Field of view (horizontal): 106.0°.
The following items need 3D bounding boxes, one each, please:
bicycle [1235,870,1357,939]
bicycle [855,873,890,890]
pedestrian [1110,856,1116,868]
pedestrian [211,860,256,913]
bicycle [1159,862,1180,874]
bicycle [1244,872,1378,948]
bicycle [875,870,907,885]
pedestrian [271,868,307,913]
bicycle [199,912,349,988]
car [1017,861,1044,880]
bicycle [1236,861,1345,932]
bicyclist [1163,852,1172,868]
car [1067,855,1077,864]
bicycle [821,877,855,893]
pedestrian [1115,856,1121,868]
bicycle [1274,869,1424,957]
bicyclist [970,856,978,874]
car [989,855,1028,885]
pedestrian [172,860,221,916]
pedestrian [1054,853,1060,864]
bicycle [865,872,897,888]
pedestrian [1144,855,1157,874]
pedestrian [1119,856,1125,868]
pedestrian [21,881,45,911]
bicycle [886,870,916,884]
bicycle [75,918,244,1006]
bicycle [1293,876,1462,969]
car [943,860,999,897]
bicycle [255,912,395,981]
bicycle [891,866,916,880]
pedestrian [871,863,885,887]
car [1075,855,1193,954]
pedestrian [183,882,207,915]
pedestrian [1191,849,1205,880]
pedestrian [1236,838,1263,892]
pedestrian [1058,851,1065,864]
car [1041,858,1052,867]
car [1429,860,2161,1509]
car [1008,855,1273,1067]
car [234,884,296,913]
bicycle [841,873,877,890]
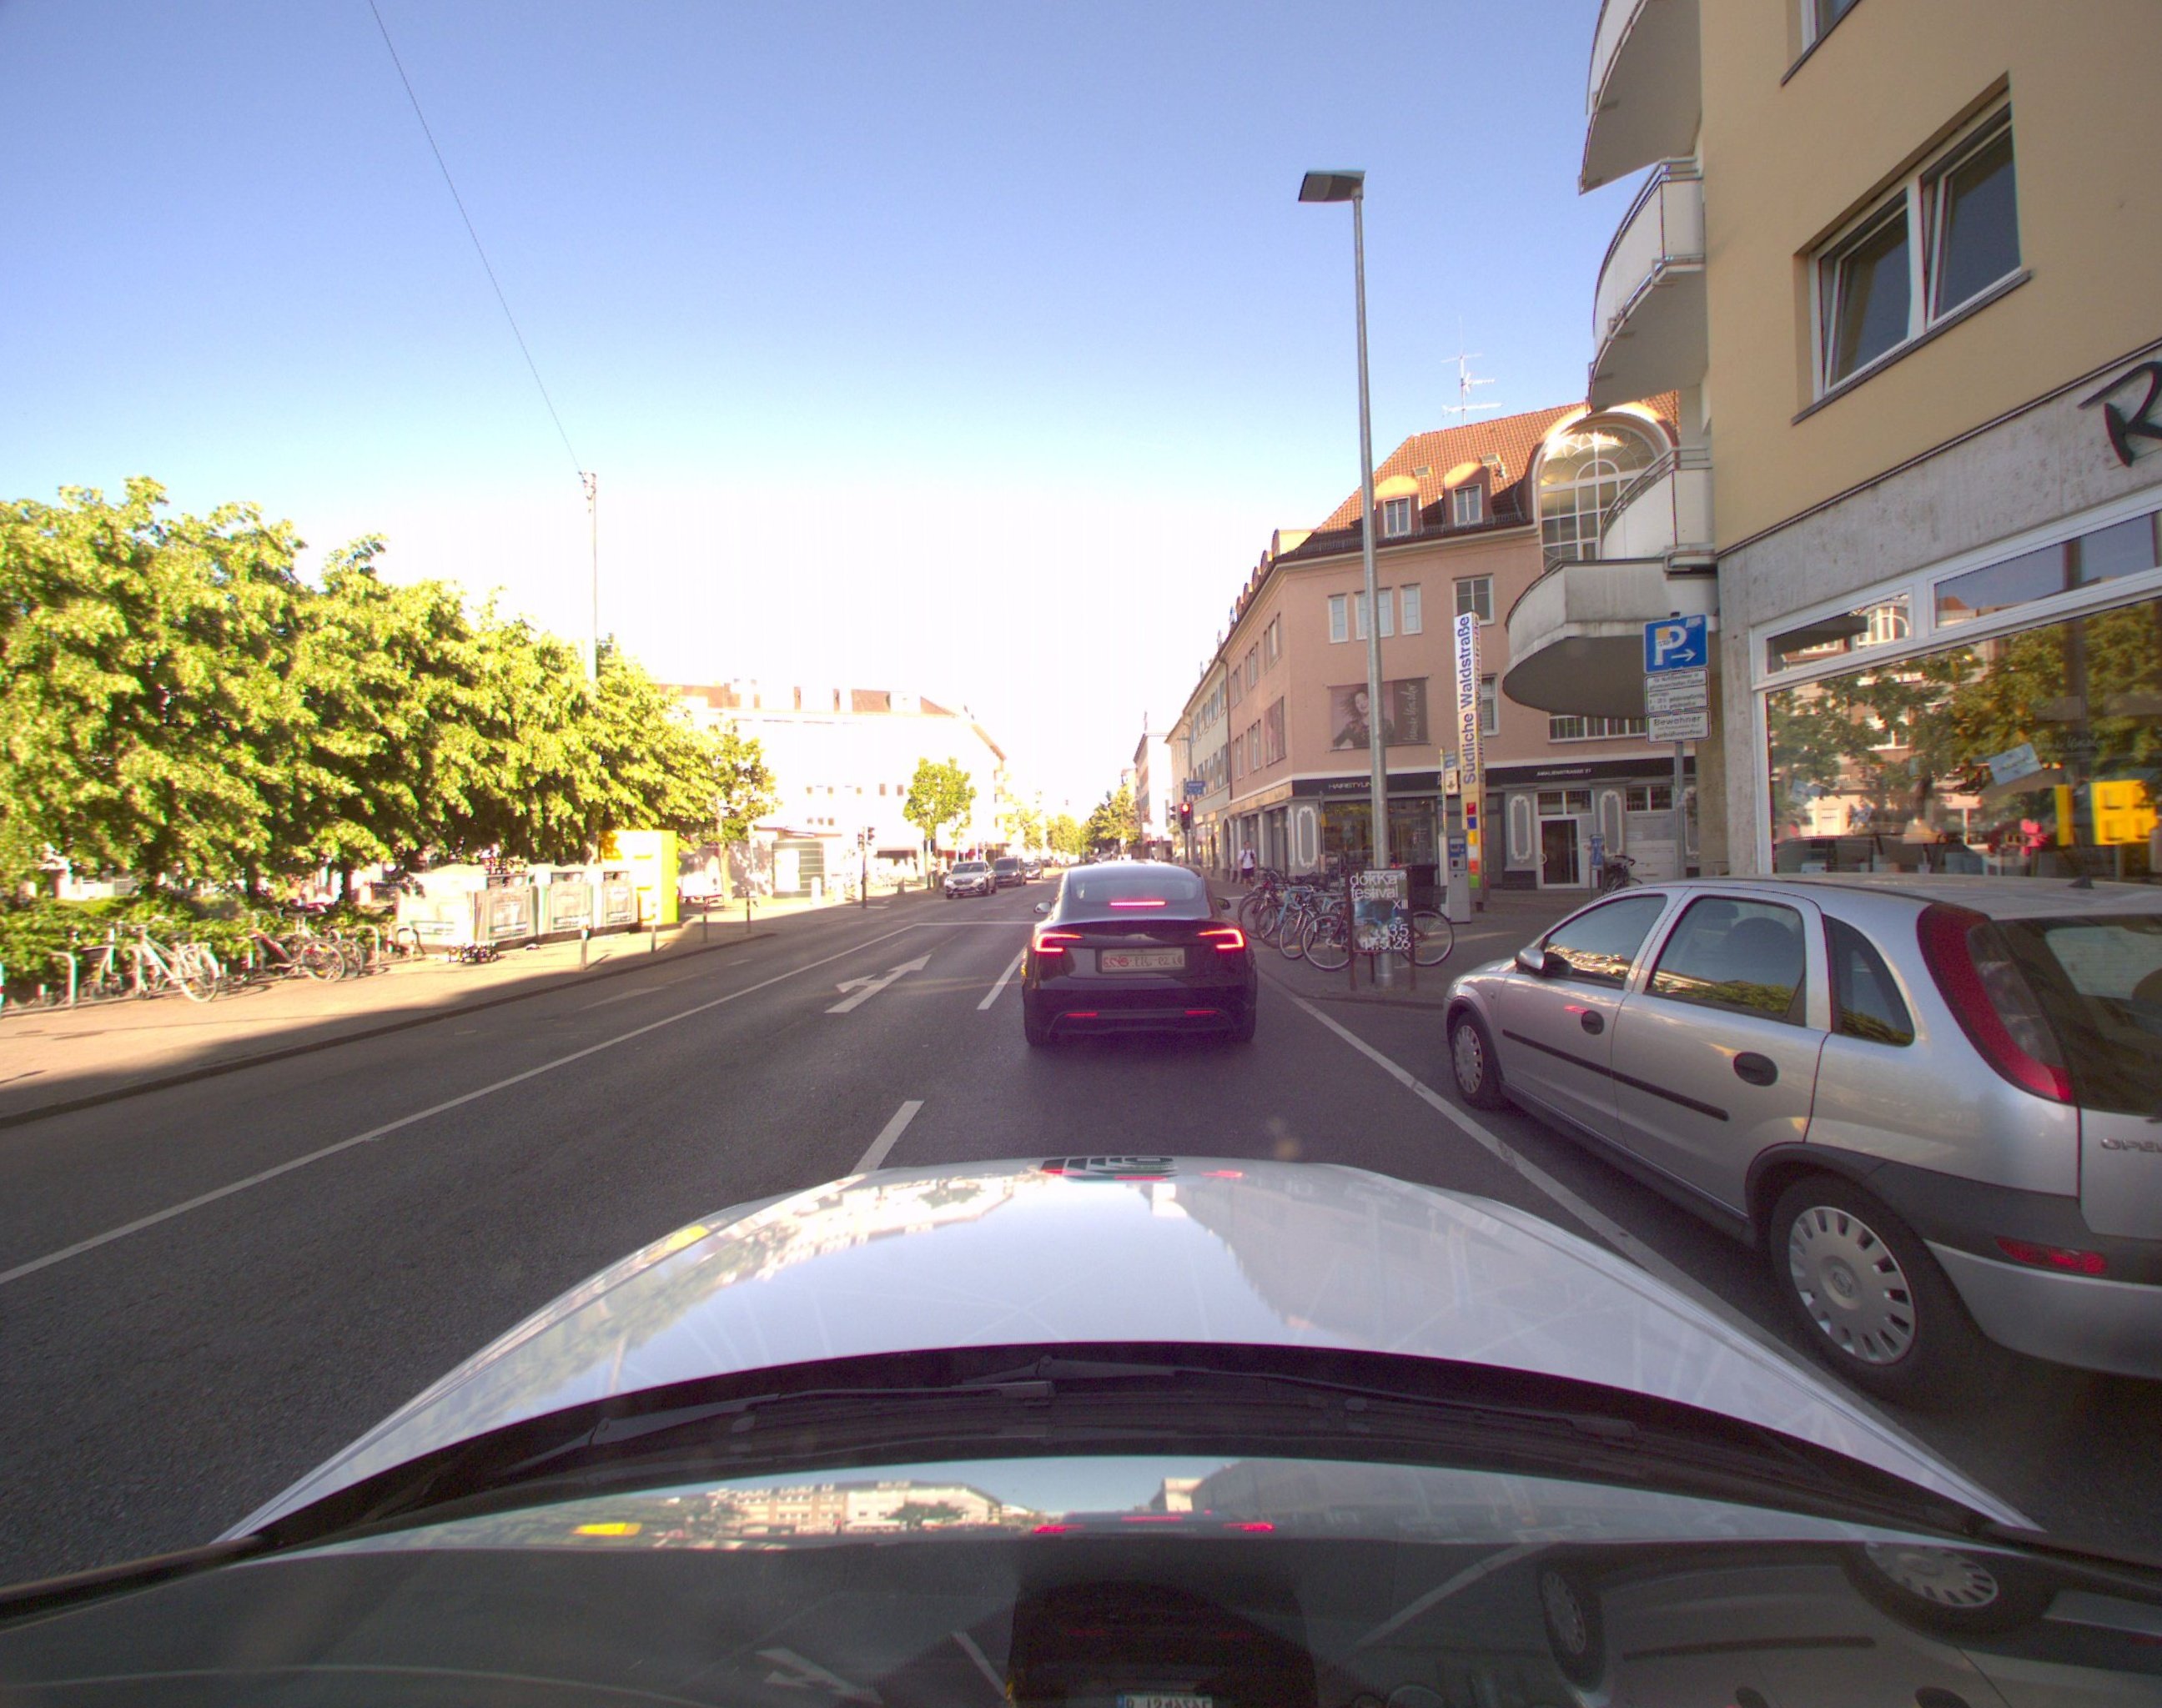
[{"bbox_3d":[3.582,0.839,13.669,1.863,1.038,0.548,-3,-1,7],"label":"bicycle"},{"bbox_3d":[-12.226,1.615,47.823,1.857,0.934,0.606,0,-1,0],"label":"bicycle"},{"bbox_3d":[3.777,0.891,95.326,0.474,1.417,0.517,0,-1,-29],"label":"pedestrian"},{"bbox_3d":[-33.426,1.272,32.130,0.890,2.013,0.893,-1,0,15],"label":"pedestrian"},{"bbox_3d":[7.758,1.237,71.354,1.787,1.007,0.469,0,-1,-15],"label":"bicycle"},{"bbox_3d":[3.492,0.850,12.479,1.864,1.038,0.534,-3,-1,5],"label":"bicycle"},{"bbox_3d":[-12.268,1.524,52.606,1.857,0.934,0.606,-1,0,0],"label":"bicycle"},{"bbox_3d":[-31.037,1.412,31.920,0.754,1.698,0.793,-1,0,25],"label":"pedestrian"},{"bbox_3d":[-11.515,1.353,11.632,1.913,1.003,0.518,-1,-1,11],"label":"bicycle"},{"bbox_3d":[-3.897,1.267,62.998,1.709,1.446,3.846,0,-1,2],"label":"car"},{"bbox_3d":[3.778,0.759,14.786,1.818,1.169,0.507,-3,-1,7],"label":"bicycle"},{"bbox_3d":[7.613,0.503,71.334,0.670,1.395,0.460,0,-1,-14],"label":"bicyclist"},{"bbox_3d":[-2.053,1.248,187.416,1.986,2.013,4.001,-1,0,2],"label":"car"},{"bbox_3d":[-12.838,1.632,43.078,1.640,0.792,0.606,0,-1,-3],"label":"bicycle"},{"bbox_3d":[4.310,0.913,94.639,0.524,1.422,0.475,0,-1,-28],"label":"pedestrian"},{"bbox_3d":[3.651,0.805,11.182,1.864,1.087,0.415,-3,-1,5],"label":"bicycle"},{"bbox_3d":[-8.720,0.909,66.465,0.525,1.503,0.473,0,-1,-22],"label":"bicyclist"},{"bbox_3d":[-4.298,0.910,48.741,1.780,1.646,4.404,-1,0,2],"label":"car"},{"bbox_3d":[-32.822,1.246,30.223,0.890,2.013,0.893,-1,0,15],"label":"pedestrian"},{"bbox_3d":[-4.306,0.878,147.924,0.916,2.013,0.933,-1,0,1],"label":"pedestrian"},{"bbox_3d":[-12.350,1.621,50.301,1.857,0.934,0.606,0,-1,0],"label":"bicycle"},{"bbox_3d":[5.922,0.885,69.526,0.756,1.631,0.951,0,-1,-16],"label":"pedestrian"},{"bbox_3d":[4.834,0.926,95.517,0.524,1.422,0.475,0,-1,-28],"label":"pedestrian"},{"bbox_3d":[-77.827,3.092,60.482,0.891,2.171,0.882,-1,-1,26],"label":"pedestrian"},{"bbox_3d":[-12.188,1.543,55.054,1.857,0.934,0.606,-1,0,0],"label":"bicycle"},{"bbox_3d":[-11.622,1.340,10.275,1.919,1.015,0.518,-1,-1,12],"label":"bicycle"},{"bbox_3d":[3.616,0.837,10.018,1.862,1.038,0.354,-3,-1,8],"label":"bicycle"},{"bbox_3d":[-4.862,1.044,36.380,1.782,1.460,3.759,-4,-1,2],"label":"car"},{"bbox_3d":[-11.320,1.372,12.199,1.888,0.955,0.518,-1,-1,11],"label":"bicycle"},{"bbox_3d":[-17.092,1.816,78.482,2.373,1.296,0.509,0,-1,-25],"label":"bicycle"},{"bbox_3d":[-17.614,1.802,70.599,1.060,2.014,1.049,0,-1,-18],"label":"pedestrian"},{"bbox_3d":[0.796,0.748,13.924,1.712,1.425,3.757,-1,0,0],"label":"car"},{"bbox_3d":[-48.791,2.437,44.840,0.842,1.717,0.761,-2,-1,35],"label":"pedestrian"},{"bbox_3d":[6.728,0.614,46.811,0.704,1.742,0.540,-1,0,1],"label":"pedestrian"},{"bbox_3d":[5.798,0.380,28.076,0.747,1.765,0.838,-4,-1,6],"label":"pedestrian"},{"bbox_3d":[-2.699,0.500,112.703,0.845,1.695,0.718,-1,0,-1],"label":"pedestrian"},{"bbox_3d":[-6.240,1.530,146.676,1.700,1.552,3.698,-1,0,1],"label":"car"},{"bbox_3d":[2.956,0.737,3.509,1.540,1.390,3.479,-1,-1,3],"label":"car"},{"bbox_3d":[0.476,0.761,7.682,1.815,1.442,4.001,-1,-1,2],"label":"car"},{"bbox_3d":[-42.368,2.279,42.267,3.526,1.386,1.703,-1,0,36],"label":"car"},{"bbox_3d":[-12.431,1.550,45.650,1.857,0.934,0.606,-1,-1,0],"label":"bicycle"}]
